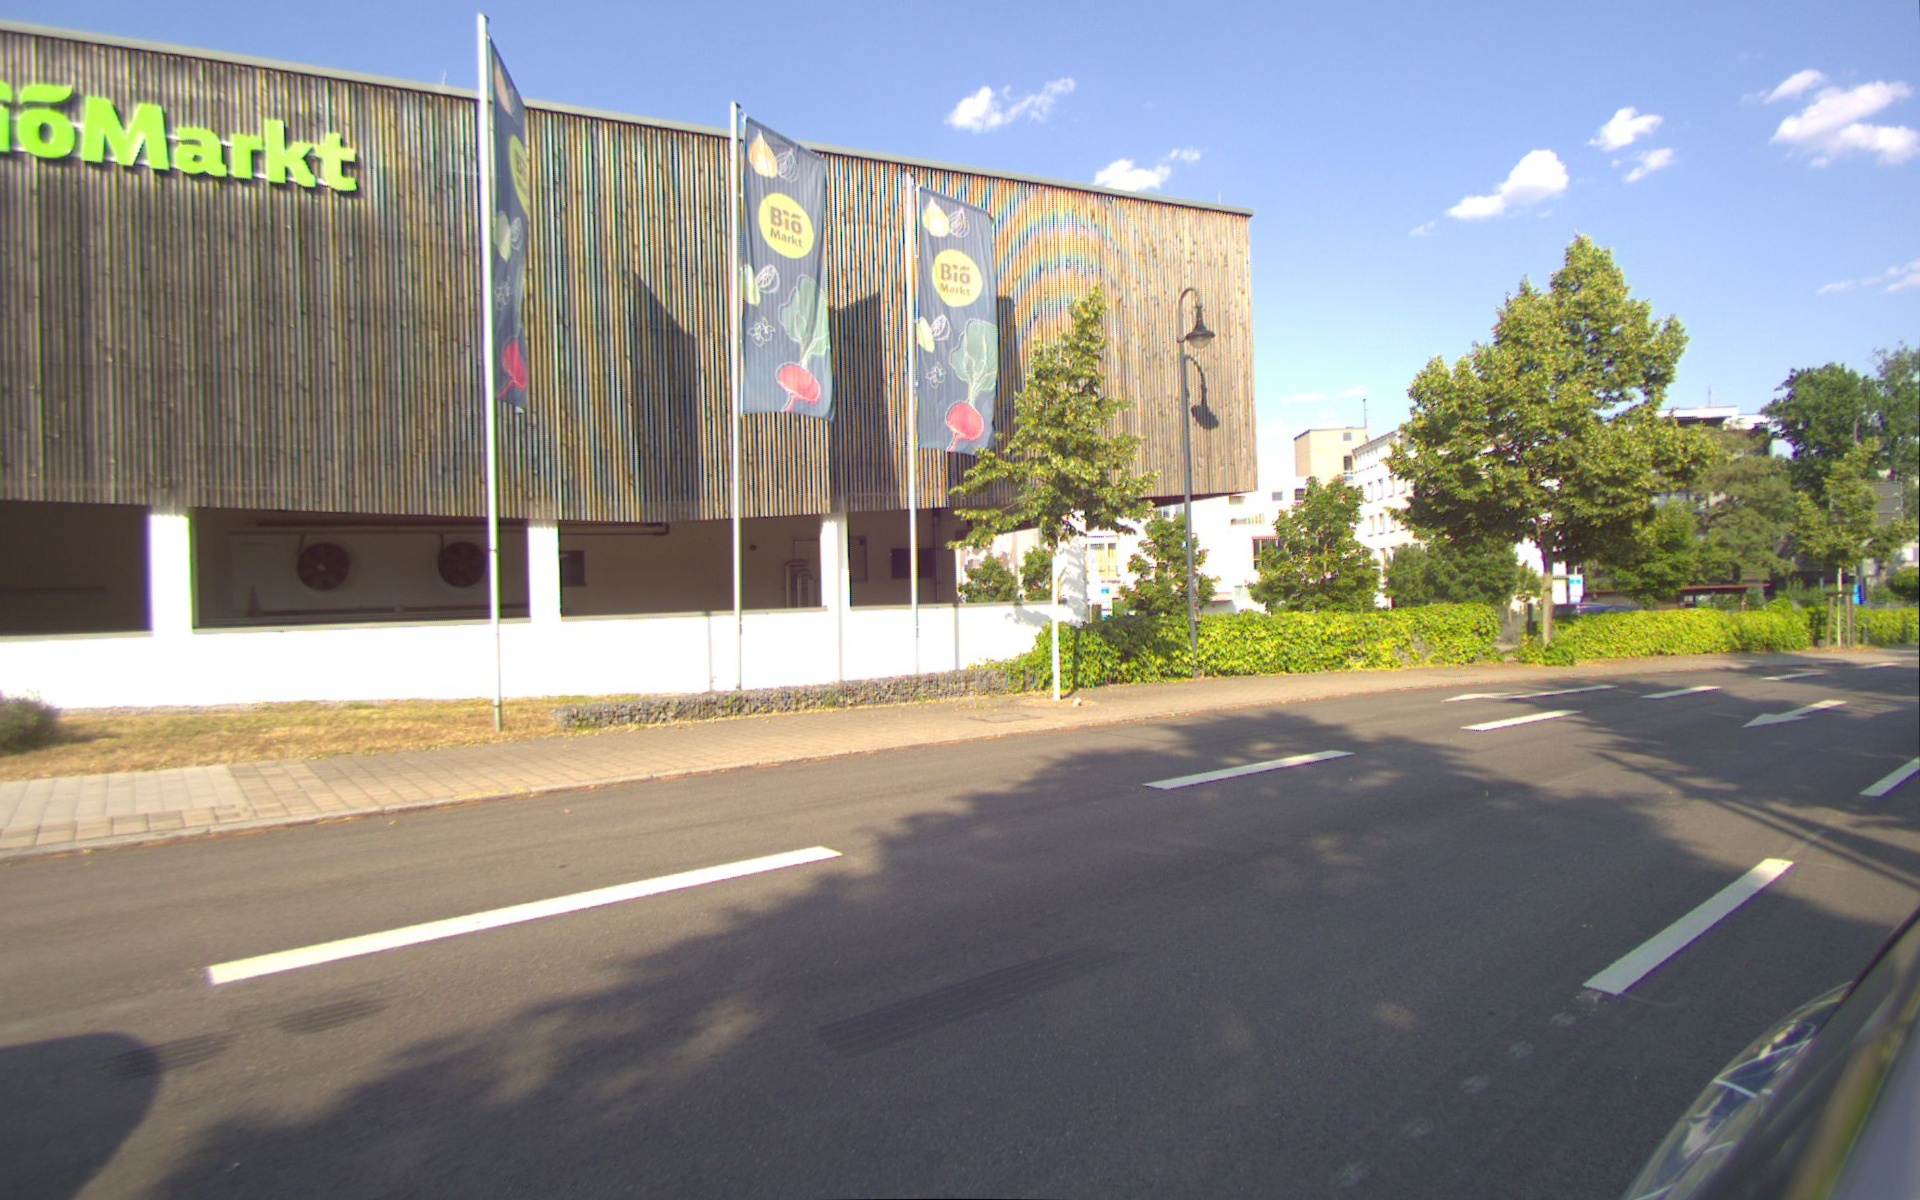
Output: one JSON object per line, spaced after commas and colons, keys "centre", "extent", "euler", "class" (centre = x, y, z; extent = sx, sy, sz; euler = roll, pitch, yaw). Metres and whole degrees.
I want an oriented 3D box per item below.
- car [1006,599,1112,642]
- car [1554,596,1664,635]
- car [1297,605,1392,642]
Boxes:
{"centre": [4.144, 0.836, 42.371], "extent": [3.917, 1.649, 2.003], "euler": [-1, -1, -24], "class": "car"}
{"centre": [28.411, 0.673, 44.300], "extent": [4.455, 1.552, 2.002], "euler": [-1, -3, -27], "class": "car"}
{"centre": [19.446, 1.168, 51.187], "extent": [4.225, 1.746, 1.897], "euler": [0, -3, -22], "class": "car"}
